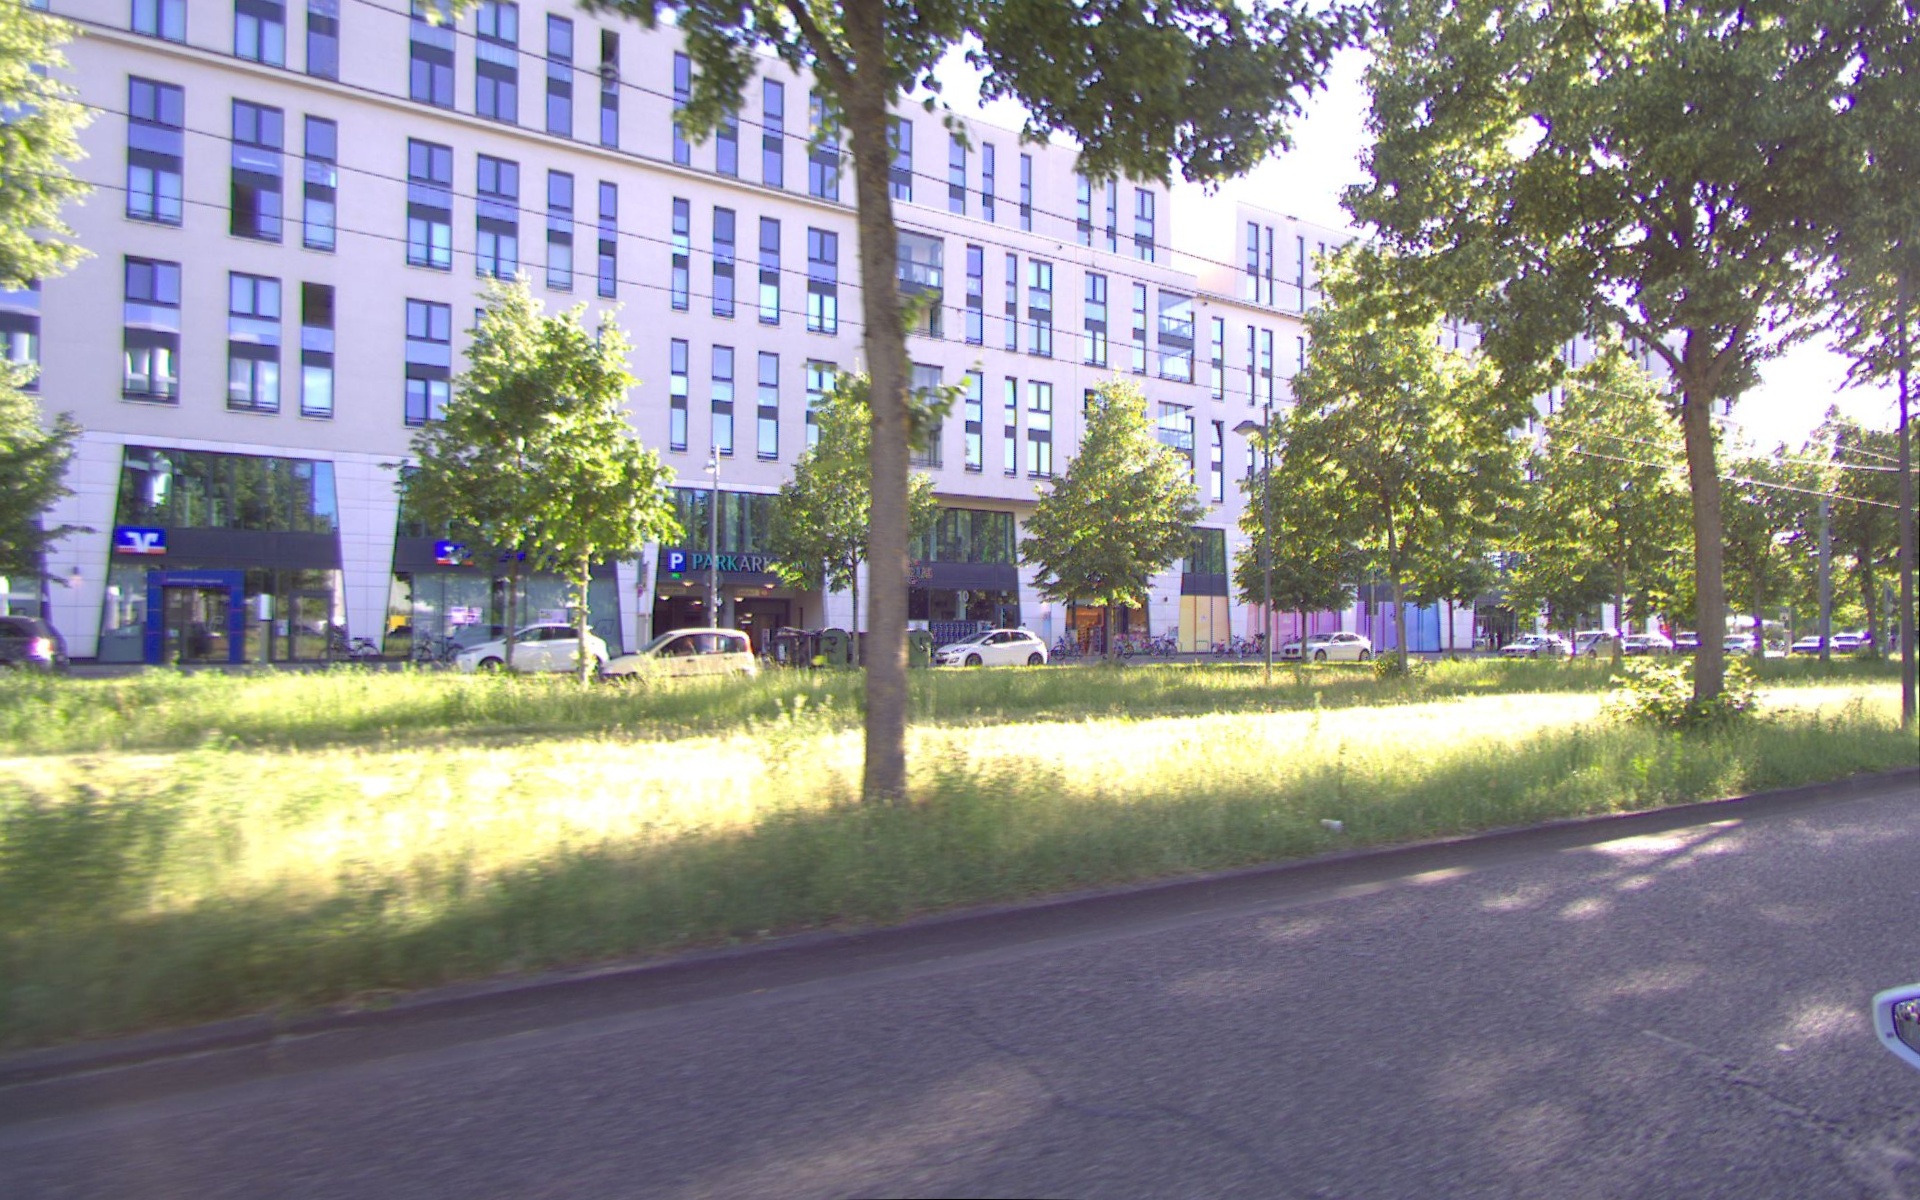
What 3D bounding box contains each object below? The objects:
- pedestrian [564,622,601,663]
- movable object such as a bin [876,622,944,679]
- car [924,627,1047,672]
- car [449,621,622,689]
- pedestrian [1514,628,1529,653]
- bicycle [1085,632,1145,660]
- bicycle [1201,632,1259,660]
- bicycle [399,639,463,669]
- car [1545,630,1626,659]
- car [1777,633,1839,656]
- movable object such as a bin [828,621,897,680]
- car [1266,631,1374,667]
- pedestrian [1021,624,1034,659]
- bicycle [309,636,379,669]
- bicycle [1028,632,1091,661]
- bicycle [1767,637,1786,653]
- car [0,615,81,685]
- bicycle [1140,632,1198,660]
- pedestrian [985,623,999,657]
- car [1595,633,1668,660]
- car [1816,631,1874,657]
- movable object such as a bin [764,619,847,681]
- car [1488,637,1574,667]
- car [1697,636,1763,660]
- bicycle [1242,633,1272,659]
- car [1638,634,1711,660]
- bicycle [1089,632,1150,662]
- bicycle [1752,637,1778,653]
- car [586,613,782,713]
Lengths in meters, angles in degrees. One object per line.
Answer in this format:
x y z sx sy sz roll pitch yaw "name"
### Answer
-14.165 1.583 37.658 1.018 1.487 0.939 2 0 -39 "pedestrian"
-1.731 1.692 34.168 1.538 1.818 1.960 2 0 -31 "movable object such as a bin"
0.934 1.759 35.976 3.976 1.460 1.982 2 0 -32 "car"
-12.087 1.540 28.663 4.291 1.752 1.982 2 0 -32 "car"
38.636 2.763 69.104 0.712 1.673 0.632 2 0 -32 "pedestrian"
7.505 2.217 48.581 2.732 1.298 0.945 2 0 -23 "bicycle"
13.982 2.391 52.029 2.723 1.298 0.948 2 0 32 "bicycle"
-17.570 1.793 33.395 1.825 0.966 0.577 2 0 -28 "bicycle"
34.849 2.486 55.972 4.404 1.460 1.984 2 0 -30 "car"
59.290 3.139 70.216 4.215 1.460 1.949 2 0 -30 "car"
-3.251 1.638 33.239 1.538 1.818 1.960 2 0 -31 "movable object such as a bin"
16.256 2.205 45.297 4.872 1.460 1.982 2 0 -32 "car"
3.100 1.902 46.187 0.511 1.570 0.502 2 0 12 "pedestrian"
-19.759 1.694 32.246 1.823 1.001 0.616 2 0 -25 "bicycle"
4.607 2.150 46.449 2.732 1.298 0.945 2 0 -23 "bicycle"
68.170 3.736 83.855 1.818 1.269 0.585 2 0 -30 "bicycle"
-22.288 1.088 22.069 4.223 1.499 1.550 1 -1 -32 "car"
10.333 2.269 49.564 2.732 1.298 0.945 2 0 -23 "bicycle"
1.491 1.852 46.727 0.511 1.570 0.502 2 0 12 "pedestrian"
39.325 2.737 58.805 4.407 1.460 1.982 2 0 -32 "car"
64.949 3.225 73.701 4.724 1.795 1.982 2 0 -32 "car"
-4.944 1.578 32.103 1.988 1.818 1.959 2 0 -32 "movable object such as a bin"
30.487 2.761 53.594 4.727 1.460 1.982 2 0 -32 "car"
49.970 3.111 65.192 4.407 1.460 1.982 2 0 -32 "car"
15.679 2.437 53.032 1.590 1.298 0.594 2 0 -32 "bicycle"
44.113 2.907 61.992 4.883 1.460 1.982 2 0 -32 "car"
7.525 2.212 47.375 2.732 1.298 0.945 2 0 -23 "bicycle"
66.409 3.694 82.852 1.806 1.269 0.589 2 0 -8 "bicycle"
-6.273 1.395 22.859 3.949 2.040 1.986 2 0 -27 "car"
